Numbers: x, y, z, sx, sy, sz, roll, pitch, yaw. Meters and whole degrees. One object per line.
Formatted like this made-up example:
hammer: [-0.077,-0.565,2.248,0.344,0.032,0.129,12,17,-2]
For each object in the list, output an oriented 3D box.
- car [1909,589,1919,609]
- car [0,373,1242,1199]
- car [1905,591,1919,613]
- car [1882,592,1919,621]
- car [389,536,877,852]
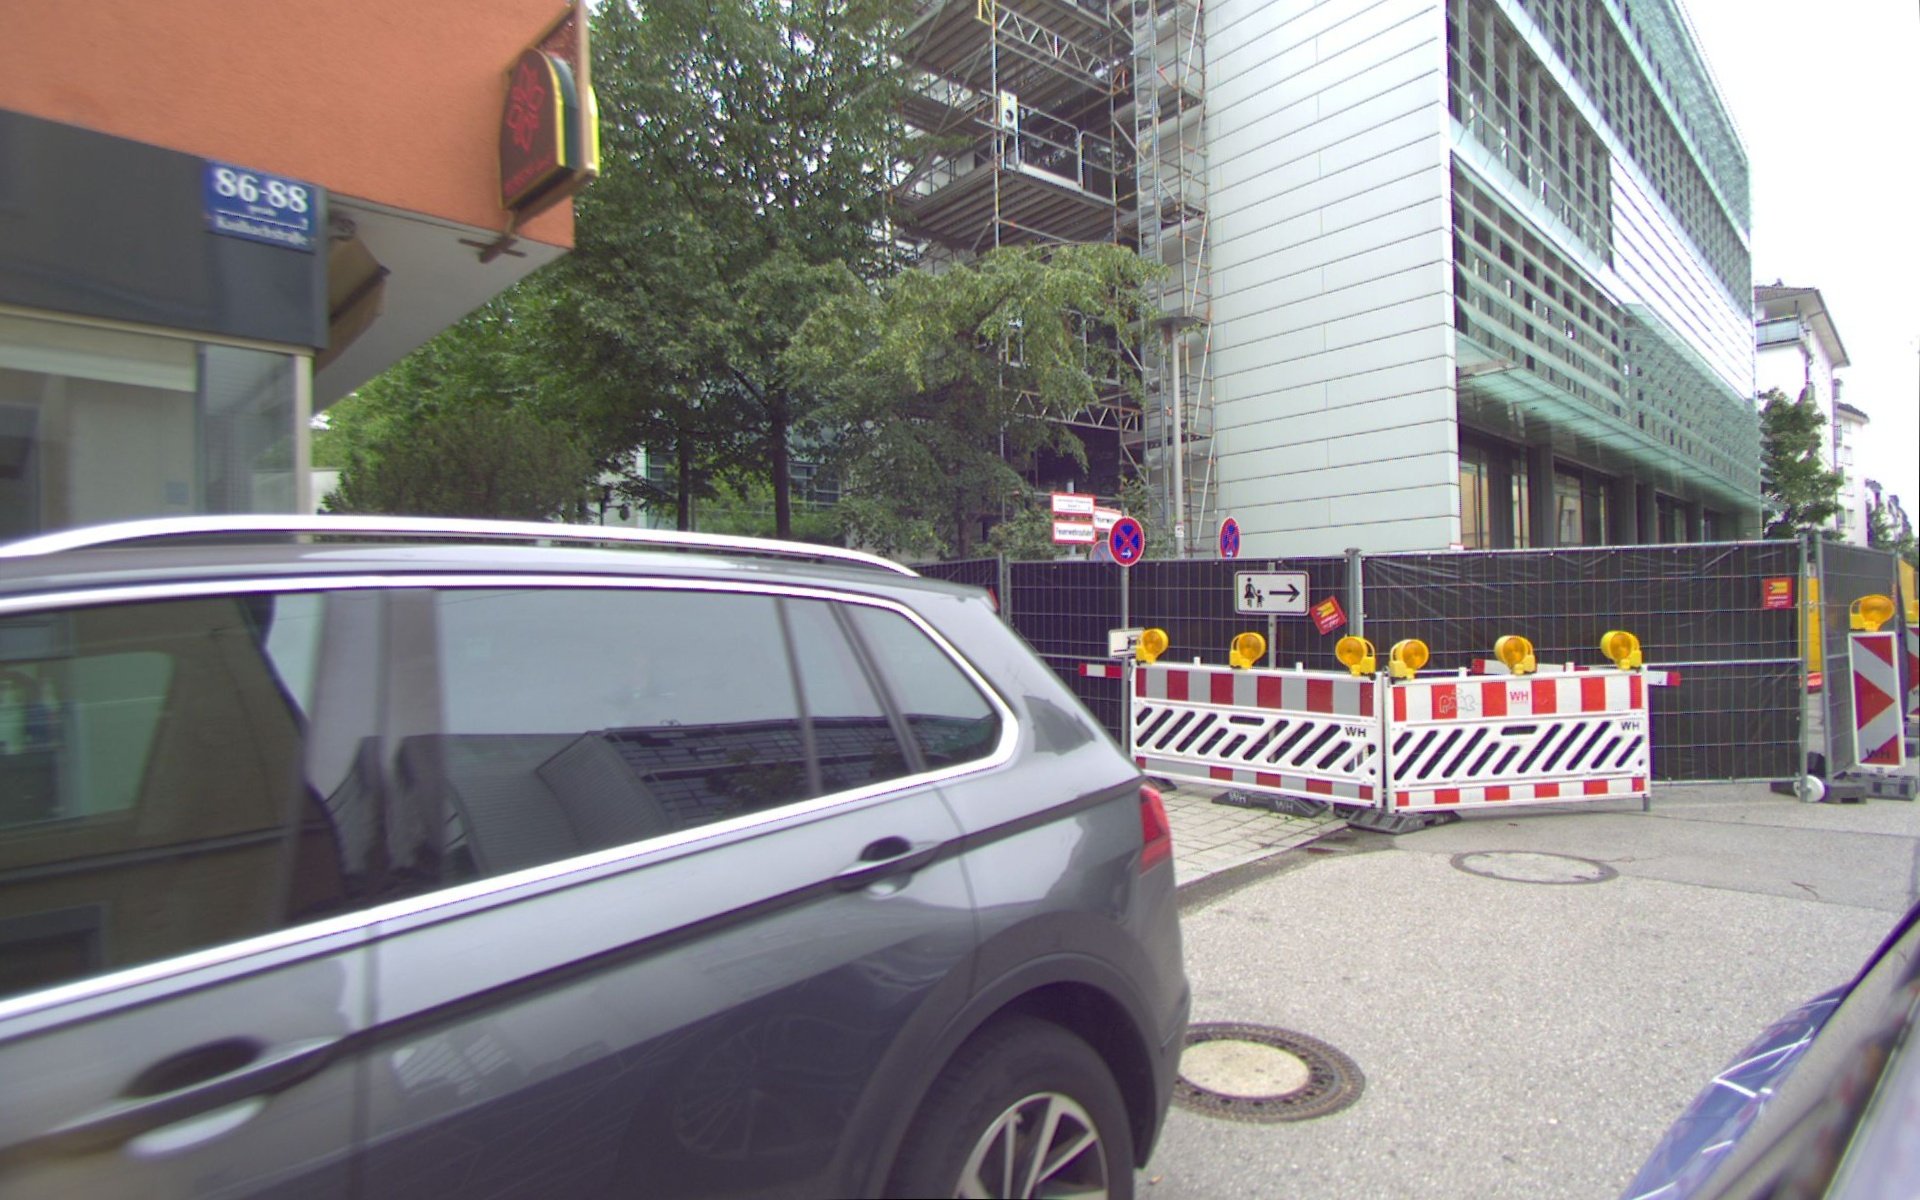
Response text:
car: [75.402,-0.097,79.030,1.789,1.579,3.936,-2,-1,45]
car: [-1.552,0.687,1.502,4.316,1.732,1.825,0,-2,-44]
car: [60.009,0.098,62.998,1.621,1.282,4.260,-2,-1,45]
car: [48.100,0.315,51.311,1.805,1.416,3.936,-2,-1,45]
car: [-2.760,0.524,7.820,1.810,1.742,4.464,0,0,-44]
